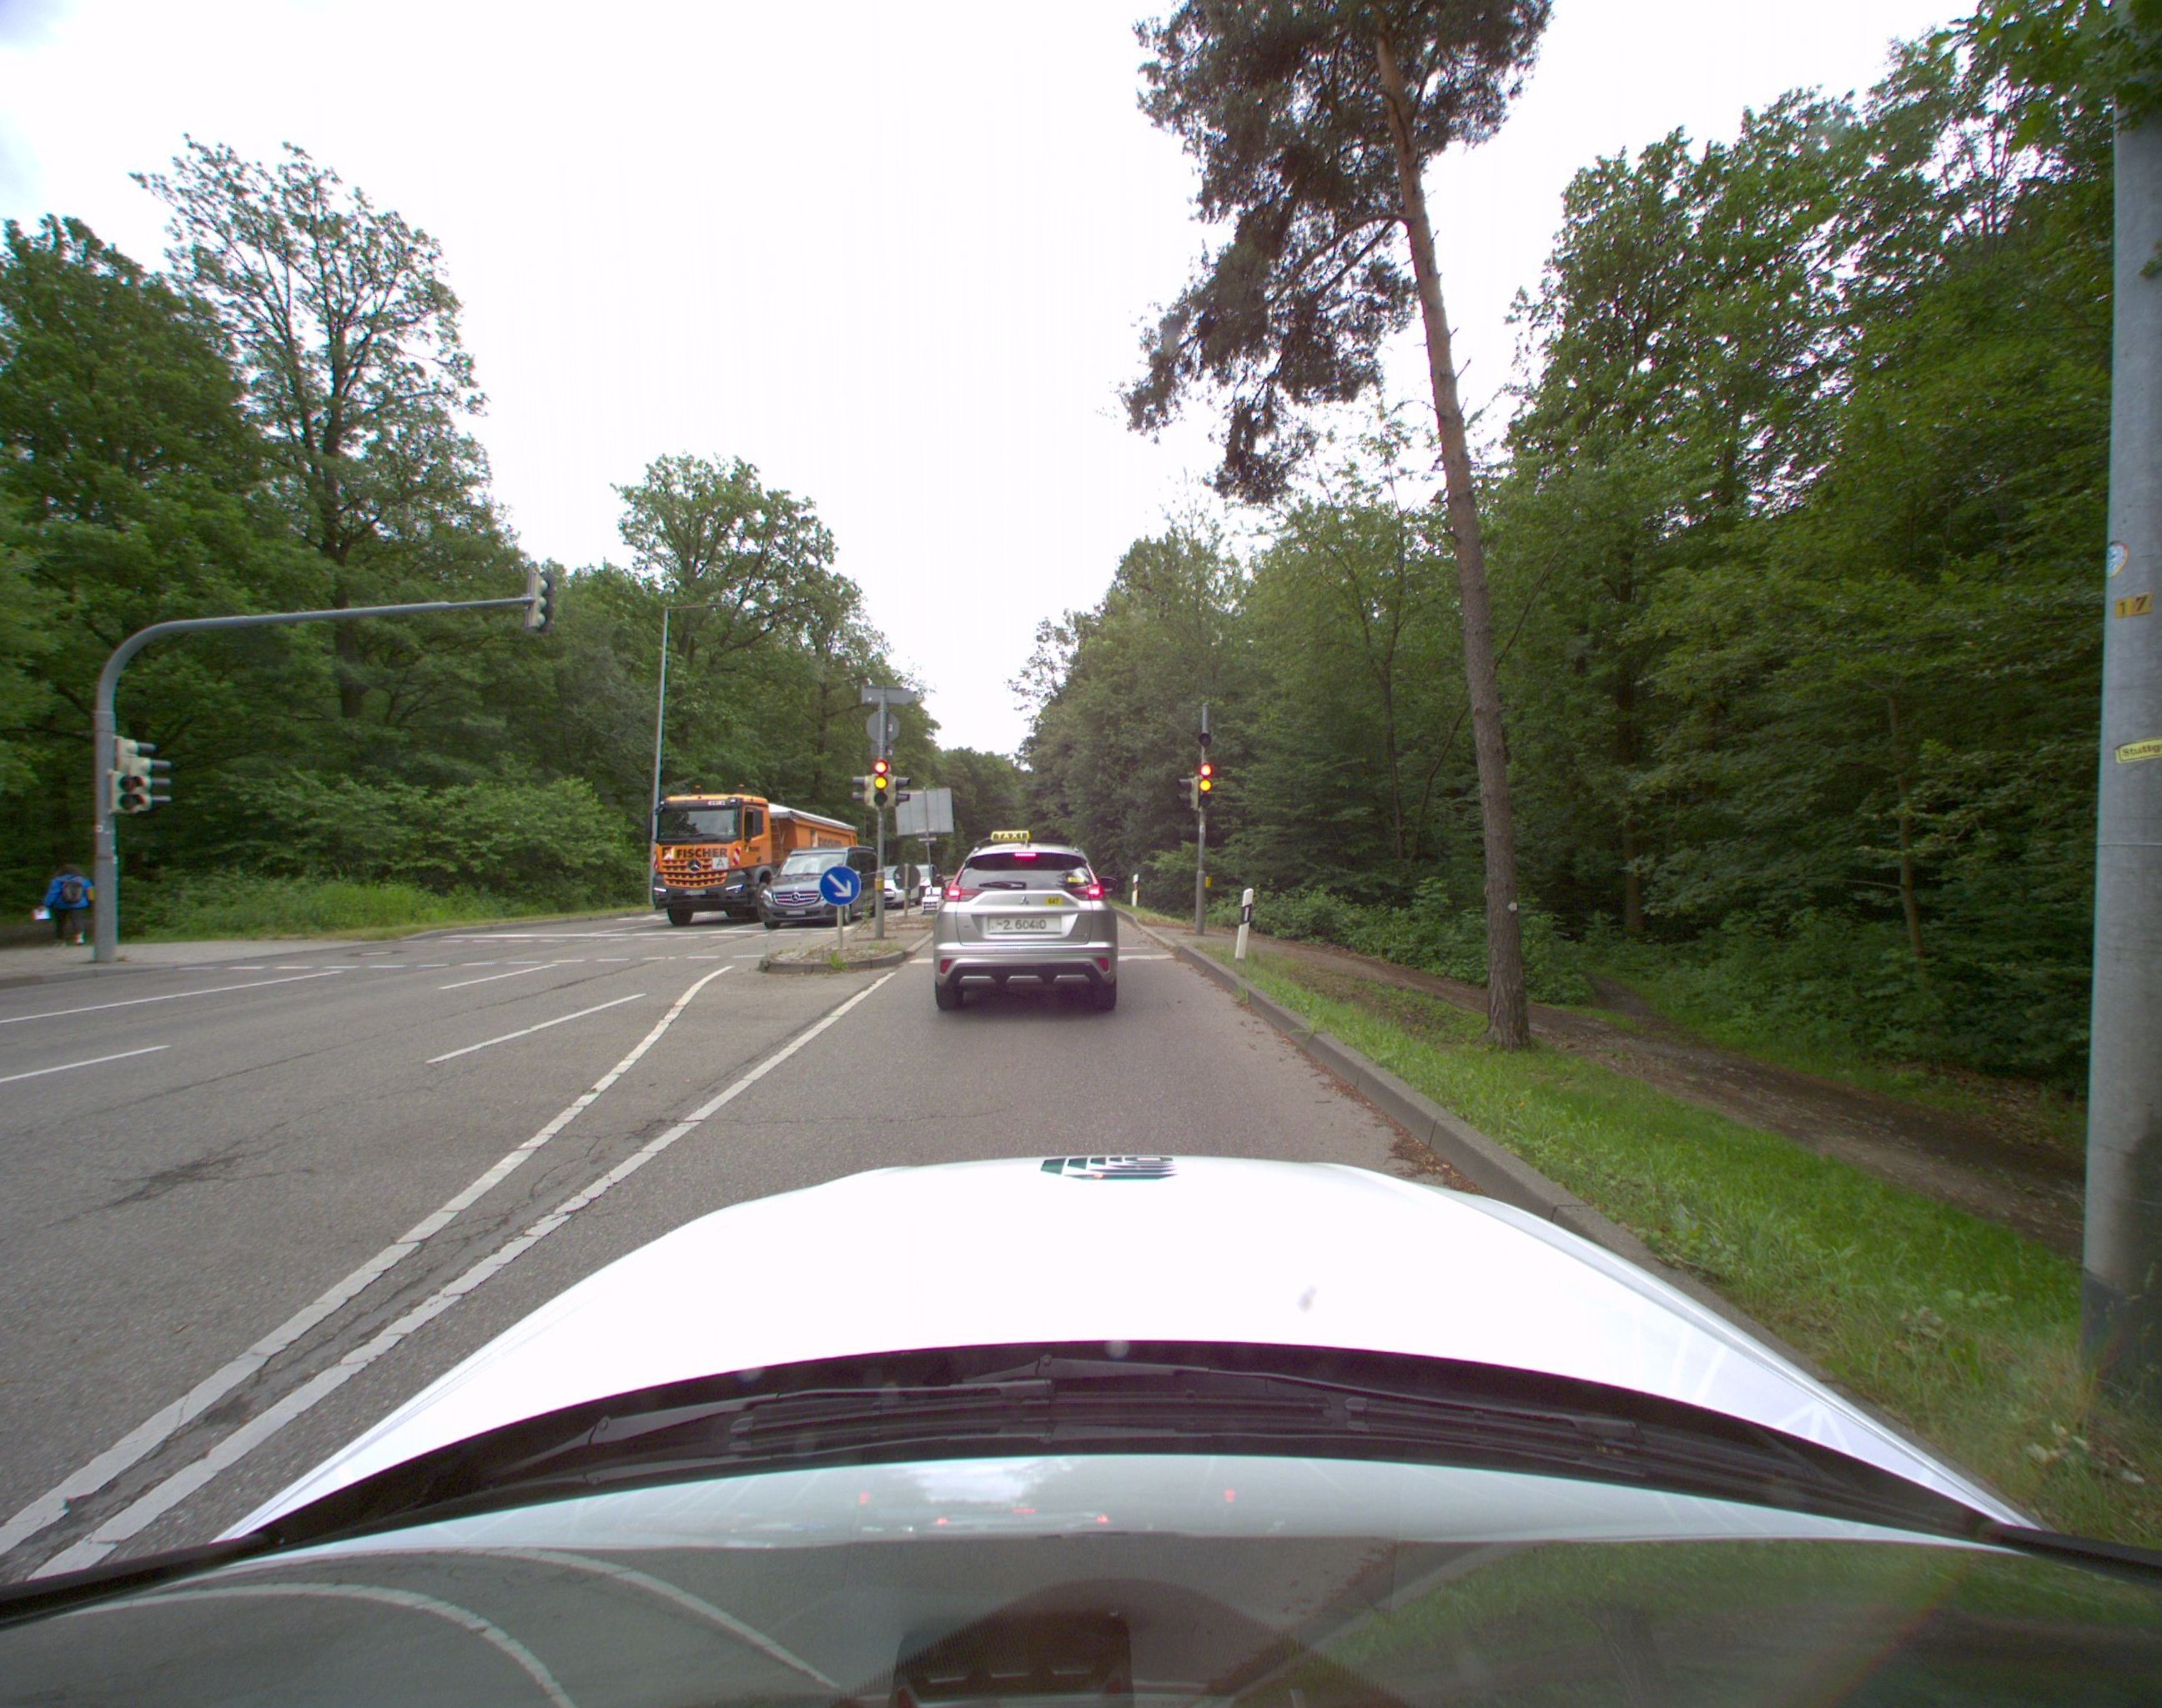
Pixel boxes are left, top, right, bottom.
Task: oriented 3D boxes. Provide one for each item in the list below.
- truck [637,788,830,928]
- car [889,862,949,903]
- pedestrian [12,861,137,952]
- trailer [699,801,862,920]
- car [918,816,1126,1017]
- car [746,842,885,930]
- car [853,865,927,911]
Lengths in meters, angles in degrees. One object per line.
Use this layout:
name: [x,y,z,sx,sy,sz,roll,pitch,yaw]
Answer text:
truck: [-9.515,0.169,23.297,2.733,3.318,7.150,-2,-1,-3]
car: [-6.695,1.144,34.014,1.807,1.508,3.718,-3,-1,-2]
pedestrian: [-19.537,0.989,15.842,1.043,1.649,1.070,3,1,3]
trailer: [-9.749,0.259,27.590,2.733,3.318,8.558,-2,-1,-3]
car: [-0.640,0.561,9.260,1.843,1.780,3.994,0,0,-4]
car: [-6.490,0.748,20.552,1.988,1.894,4.835,-2,-1,-2]
car: [-6.431,1.096,27.789,1.607,1.321,3.720,-3,0,-1]
